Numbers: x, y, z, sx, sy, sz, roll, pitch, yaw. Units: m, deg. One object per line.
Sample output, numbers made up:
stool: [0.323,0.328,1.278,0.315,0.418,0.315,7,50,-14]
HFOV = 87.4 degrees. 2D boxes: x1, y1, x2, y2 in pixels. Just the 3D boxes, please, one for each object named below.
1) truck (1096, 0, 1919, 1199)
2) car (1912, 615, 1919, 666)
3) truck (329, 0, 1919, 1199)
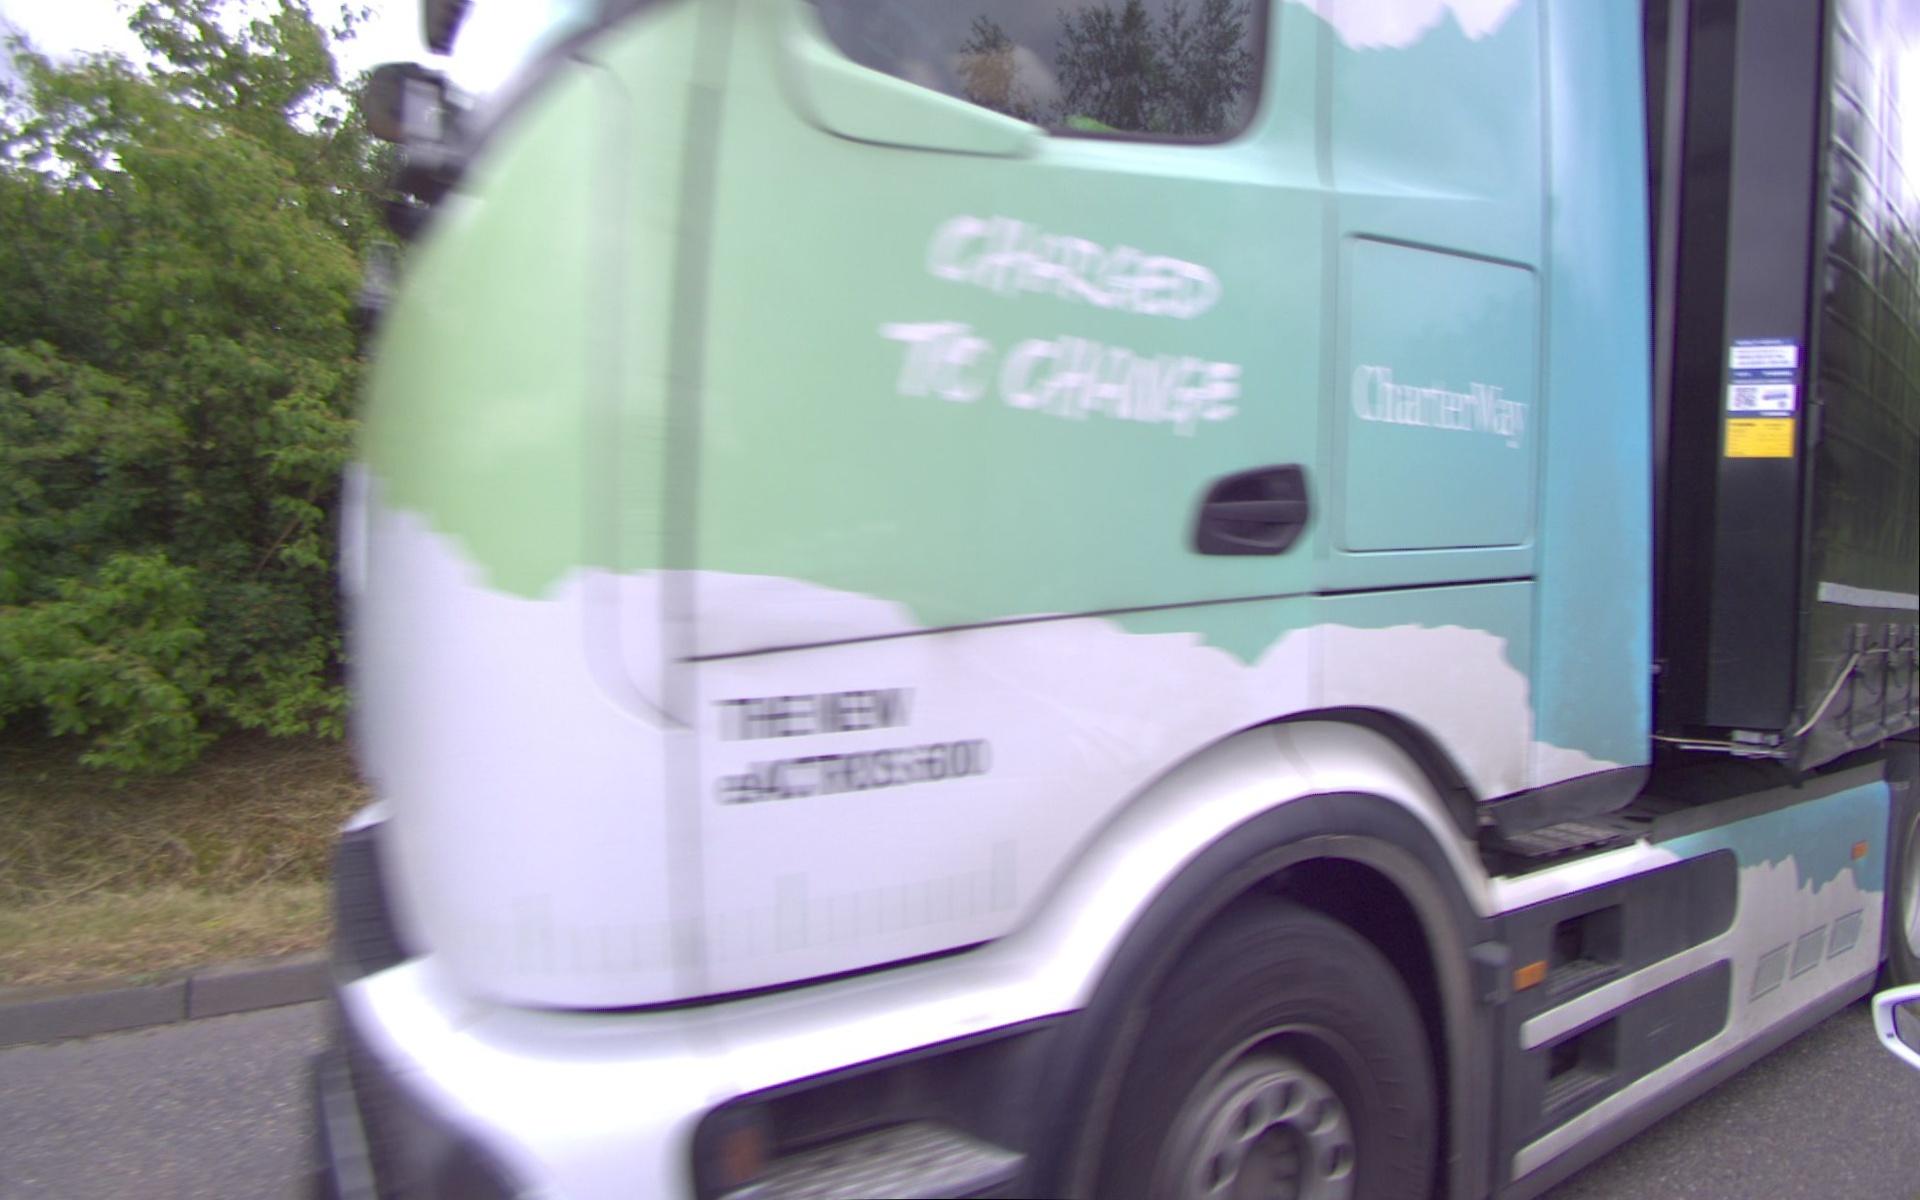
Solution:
truck: [6.692,-0.327,7.799,13.720,4.002,2.682,1,-1,-40]
car: [28.430,1.142,28.032,1.813,1.503,3.993,1,-2,30]
truck: [1.524,-0.442,3.639,6.271,4.003,2.685,0,-1,-37]
